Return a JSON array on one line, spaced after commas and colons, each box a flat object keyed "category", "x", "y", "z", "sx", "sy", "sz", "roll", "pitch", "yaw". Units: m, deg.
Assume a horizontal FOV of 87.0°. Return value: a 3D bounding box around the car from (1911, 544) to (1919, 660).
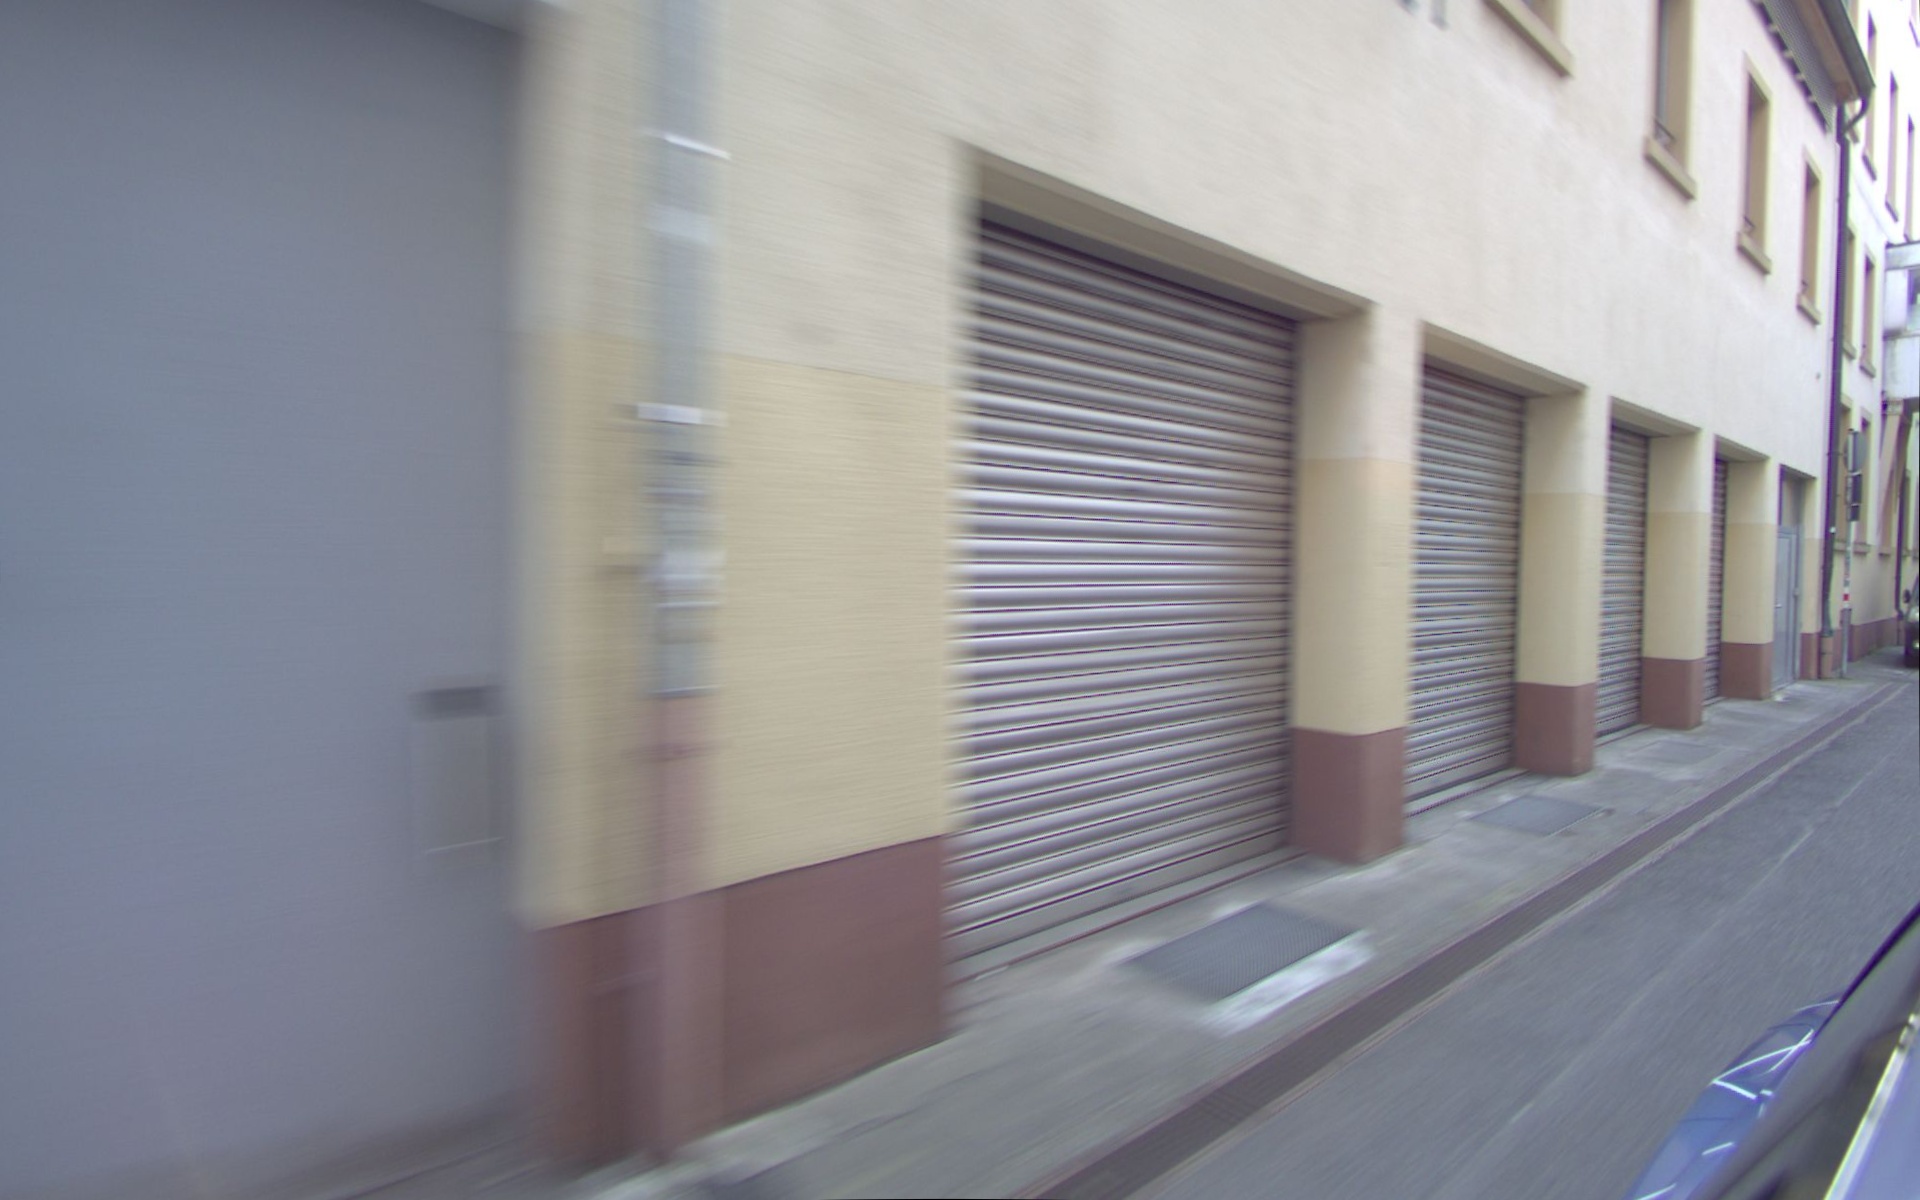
[{"category": "car", "x": 17.060, "y": -0.023, "z": 16.628, "sx": 4.670, "sy": 1.788, "sz": 1.762, "roll": -2, "pitch": 1, "yaw": -43}]
